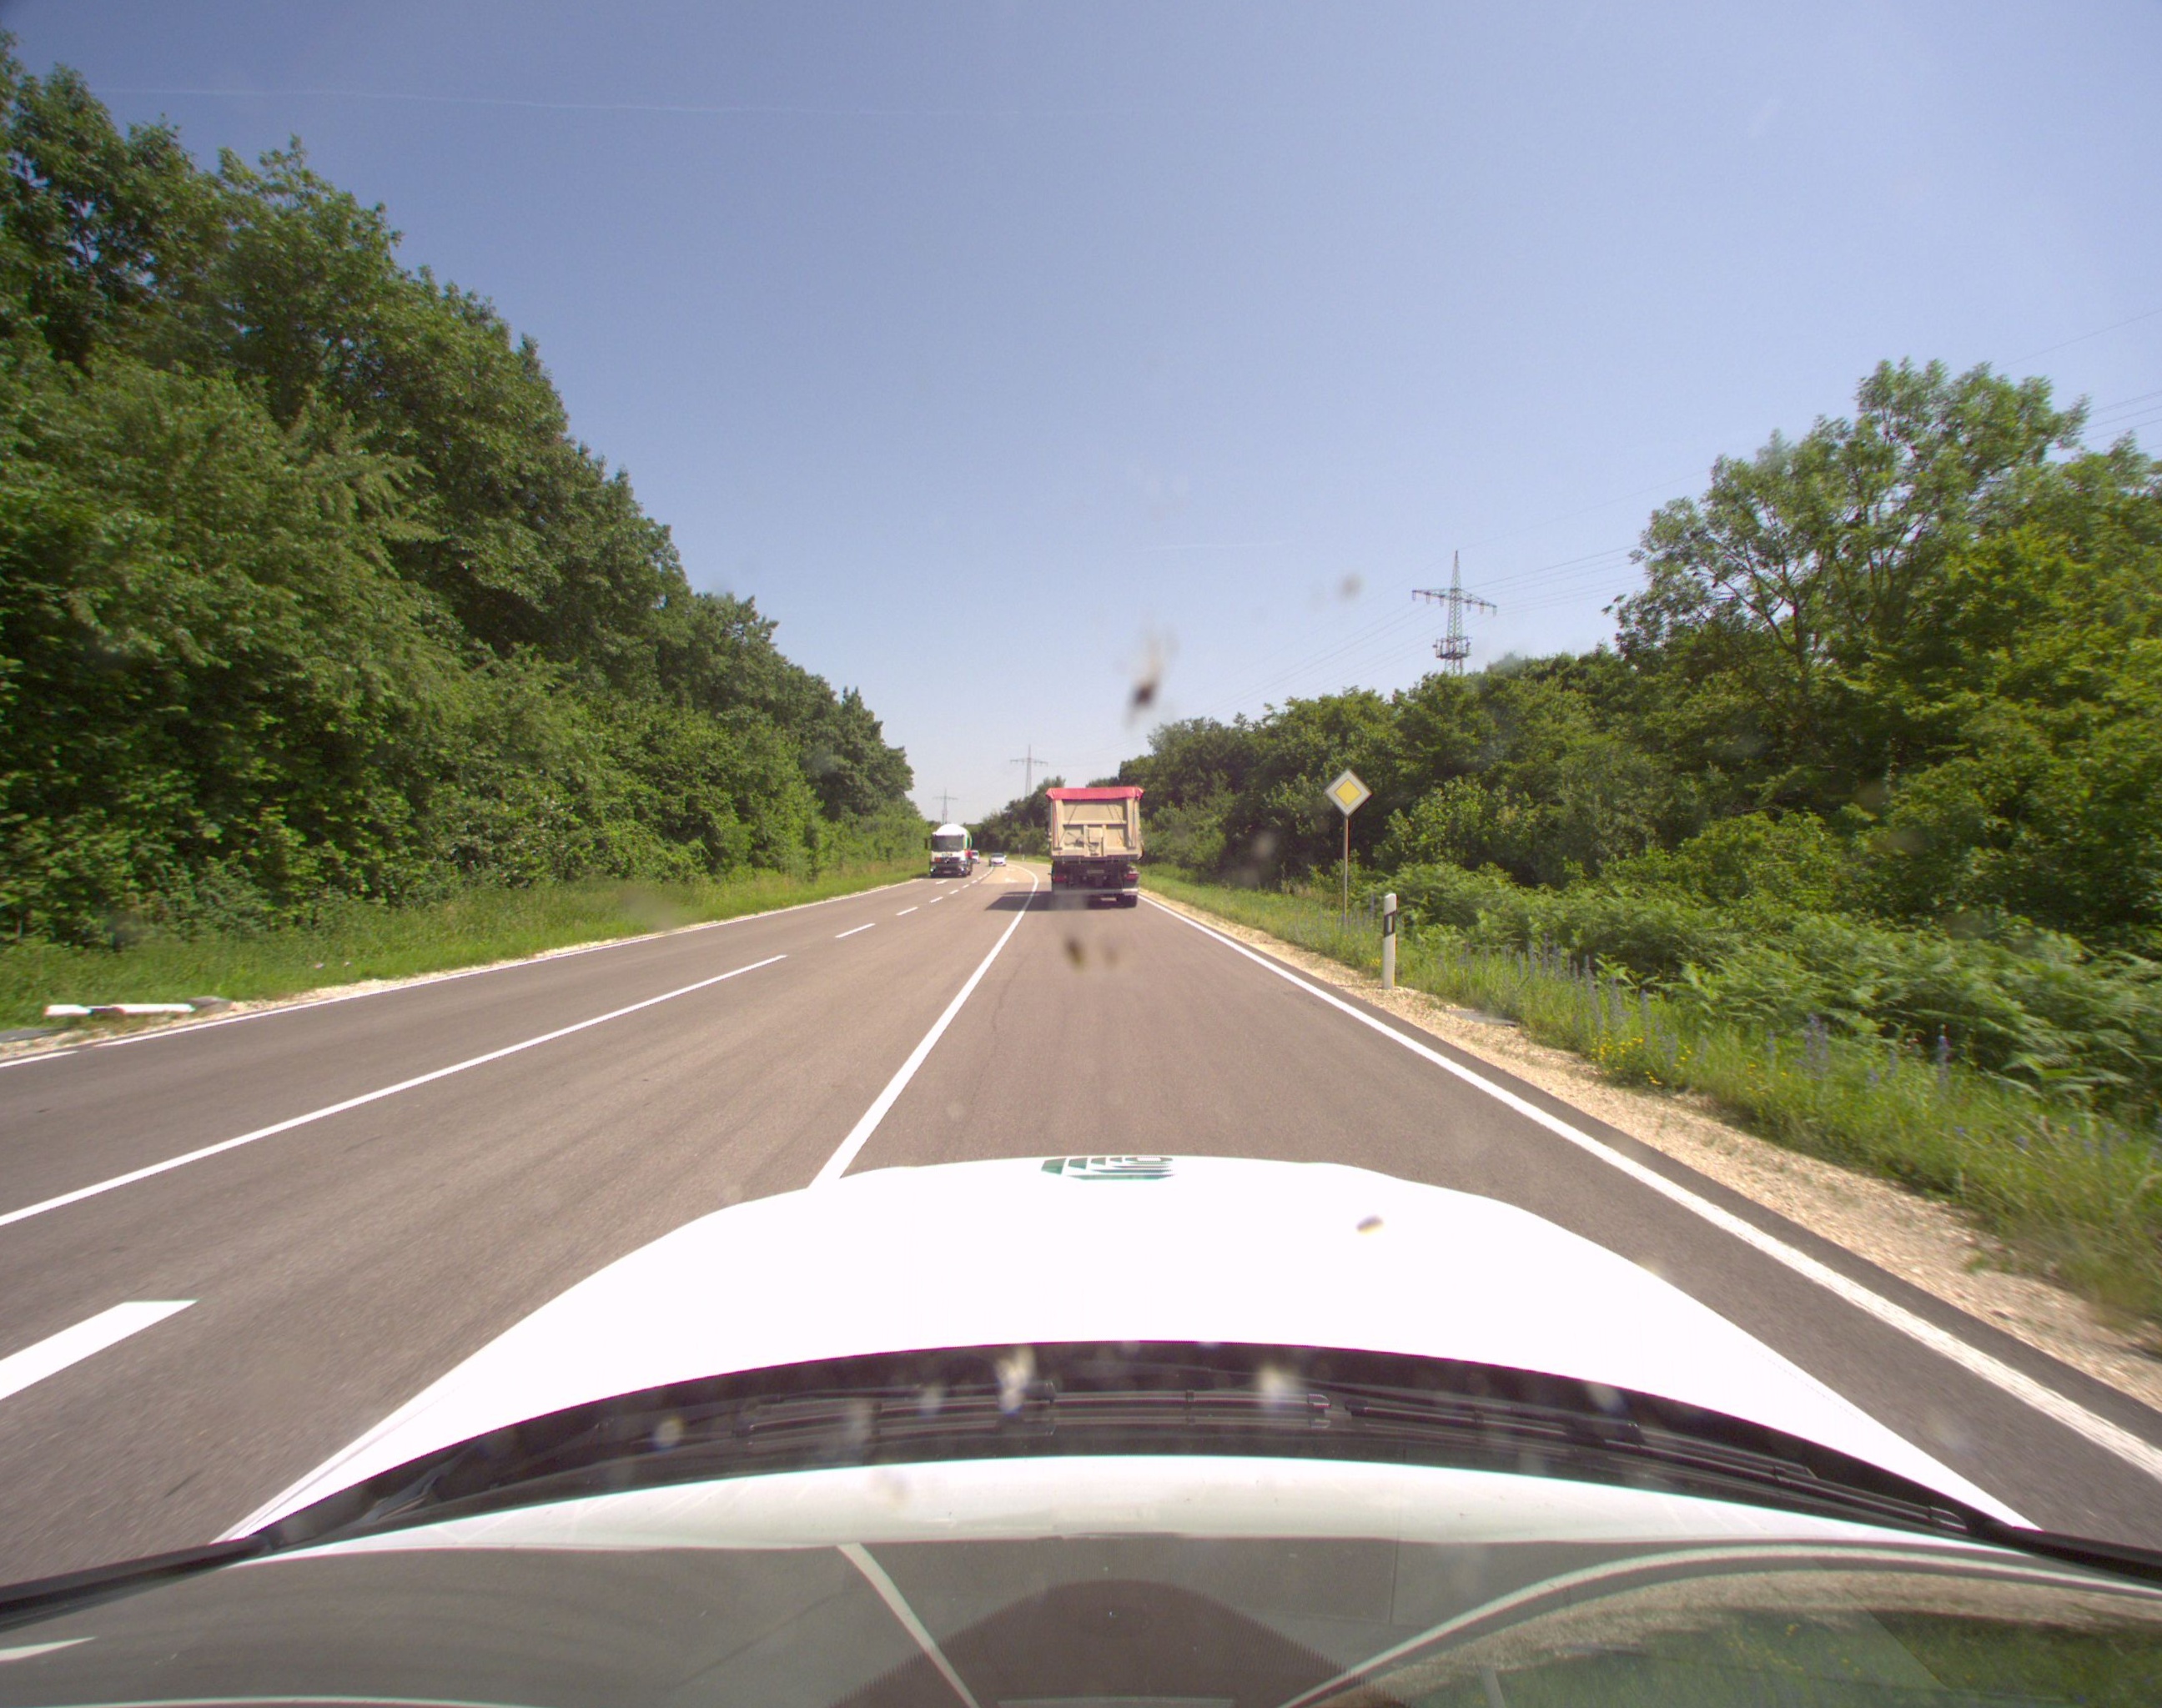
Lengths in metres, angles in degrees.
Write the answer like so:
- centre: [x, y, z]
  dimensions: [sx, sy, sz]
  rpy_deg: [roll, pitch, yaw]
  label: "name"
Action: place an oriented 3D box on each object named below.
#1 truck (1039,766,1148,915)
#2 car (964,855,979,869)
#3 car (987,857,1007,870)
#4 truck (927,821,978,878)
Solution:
- centre: [0.206, -0.408, 27.866]
  dimensions: [2.885, 3.962, 11.926]
  rpy_deg: [-1, 0, -1]
  label: "truck"
- centre: [-14.788, 1.074, 110.301]
  dimensions: [1.840, 1.779, 4.884]
  rpy_deg: [-1, -1, -5]
  label: "car"
- centre: [-9.171, 1.023, 89.399]
  dimensions: [1.702, 1.419, 4.098]
  rpy_deg: [-1, -1, 1]
  label: "car"
- centre: [-8.873, -0.254, 57.150]
  dimensions: [2.622, 3.671, 8.784]
  rpy_deg: [-1, 0, -4]
  label: "truck"
